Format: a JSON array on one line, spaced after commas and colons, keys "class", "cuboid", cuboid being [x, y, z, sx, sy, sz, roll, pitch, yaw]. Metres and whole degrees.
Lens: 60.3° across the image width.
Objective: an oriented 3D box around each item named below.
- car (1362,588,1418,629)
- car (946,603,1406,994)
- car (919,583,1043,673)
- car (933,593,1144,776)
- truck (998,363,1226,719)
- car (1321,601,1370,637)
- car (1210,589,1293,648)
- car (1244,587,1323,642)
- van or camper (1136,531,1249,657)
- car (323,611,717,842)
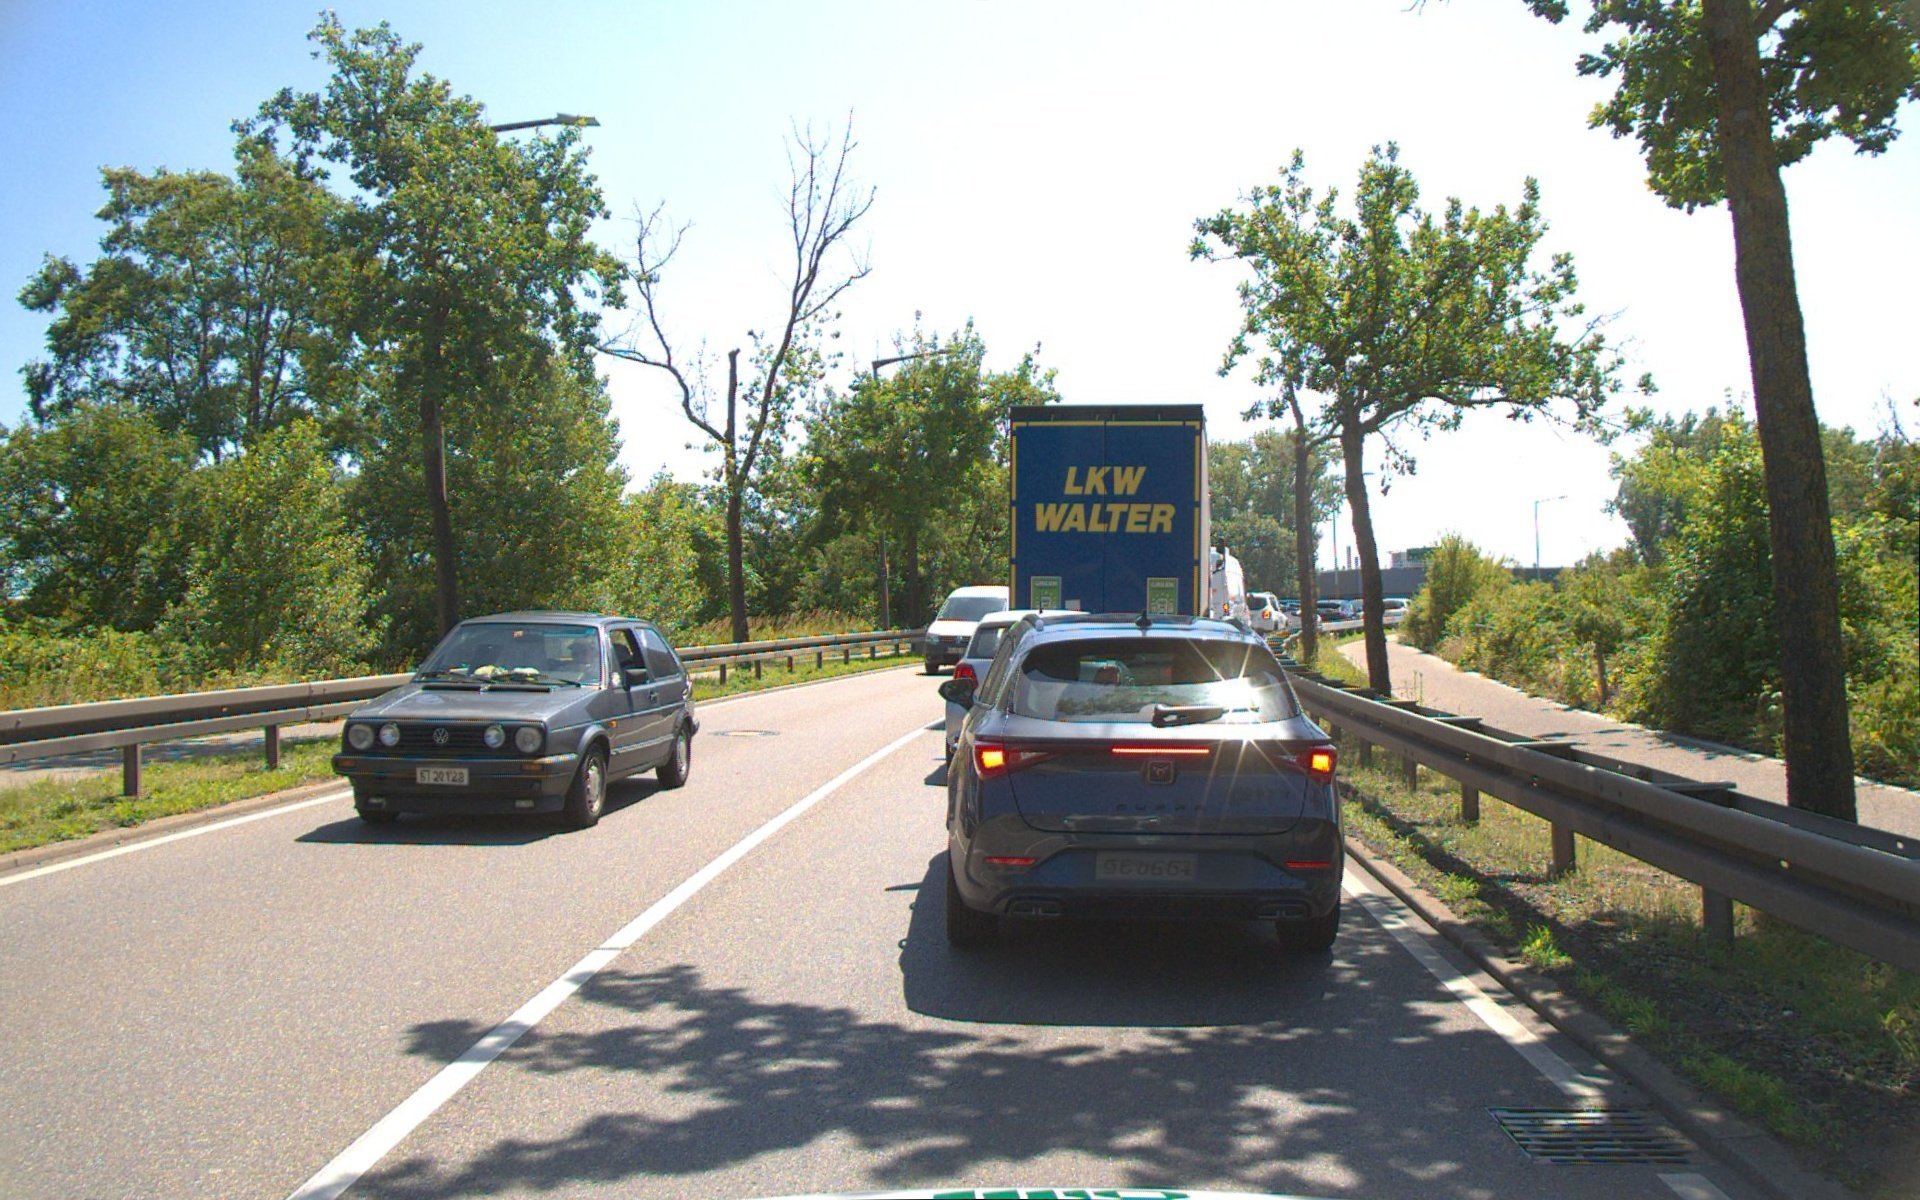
[{"class": "car", "cuboid": [20.142, 0.413, 77.298, 1.953, 1.799, 4.754, 0, -1, 22]}, {"class": "car", "cuboid": [0.799, 0.753, 8.160, 1.709, 1.457, 3.879, 1, 0, -1]}, {"class": "car", "cuboid": [0.525, 0.567, 35.606, 1.708, 1.794, 4.392, 0, 0, 14]}, {"class": "car", "cuboid": [0.683, 0.719, 16.013, 1.772, 1.534, 4.000, 1, 0, 0]}, {"class": "truck", "cuboid": [3.151, -0.737, 29.542, 2.887, 4.527, 16.811, 0, 0, 8]}, {"class": "car", "cuboid": [19.889, 0.967, 85.264, 1.710, 1.794, 4.435, 0, 0, 23]}, {"class": "car", "cuboid": [9.072, 0.551, 51.203, 1.951, 1.742, 4.622, 0, 0, 17]}, {"class": "car", "cuboid": [11.305, 0.496, 57.576, 1.952, 1.840, 4.846, 0, 0, 20]}, {"class": "van or camper", "cuboid": [6.151, -0.145, 43.110, 2.413, 3.051, 6.091, 0, 0, 13]}, {"class": "car", "cuboid": [-3.027, 0.795, 12.214, 1.523, 1.396, 3.891, 1, 0, 6]}]
